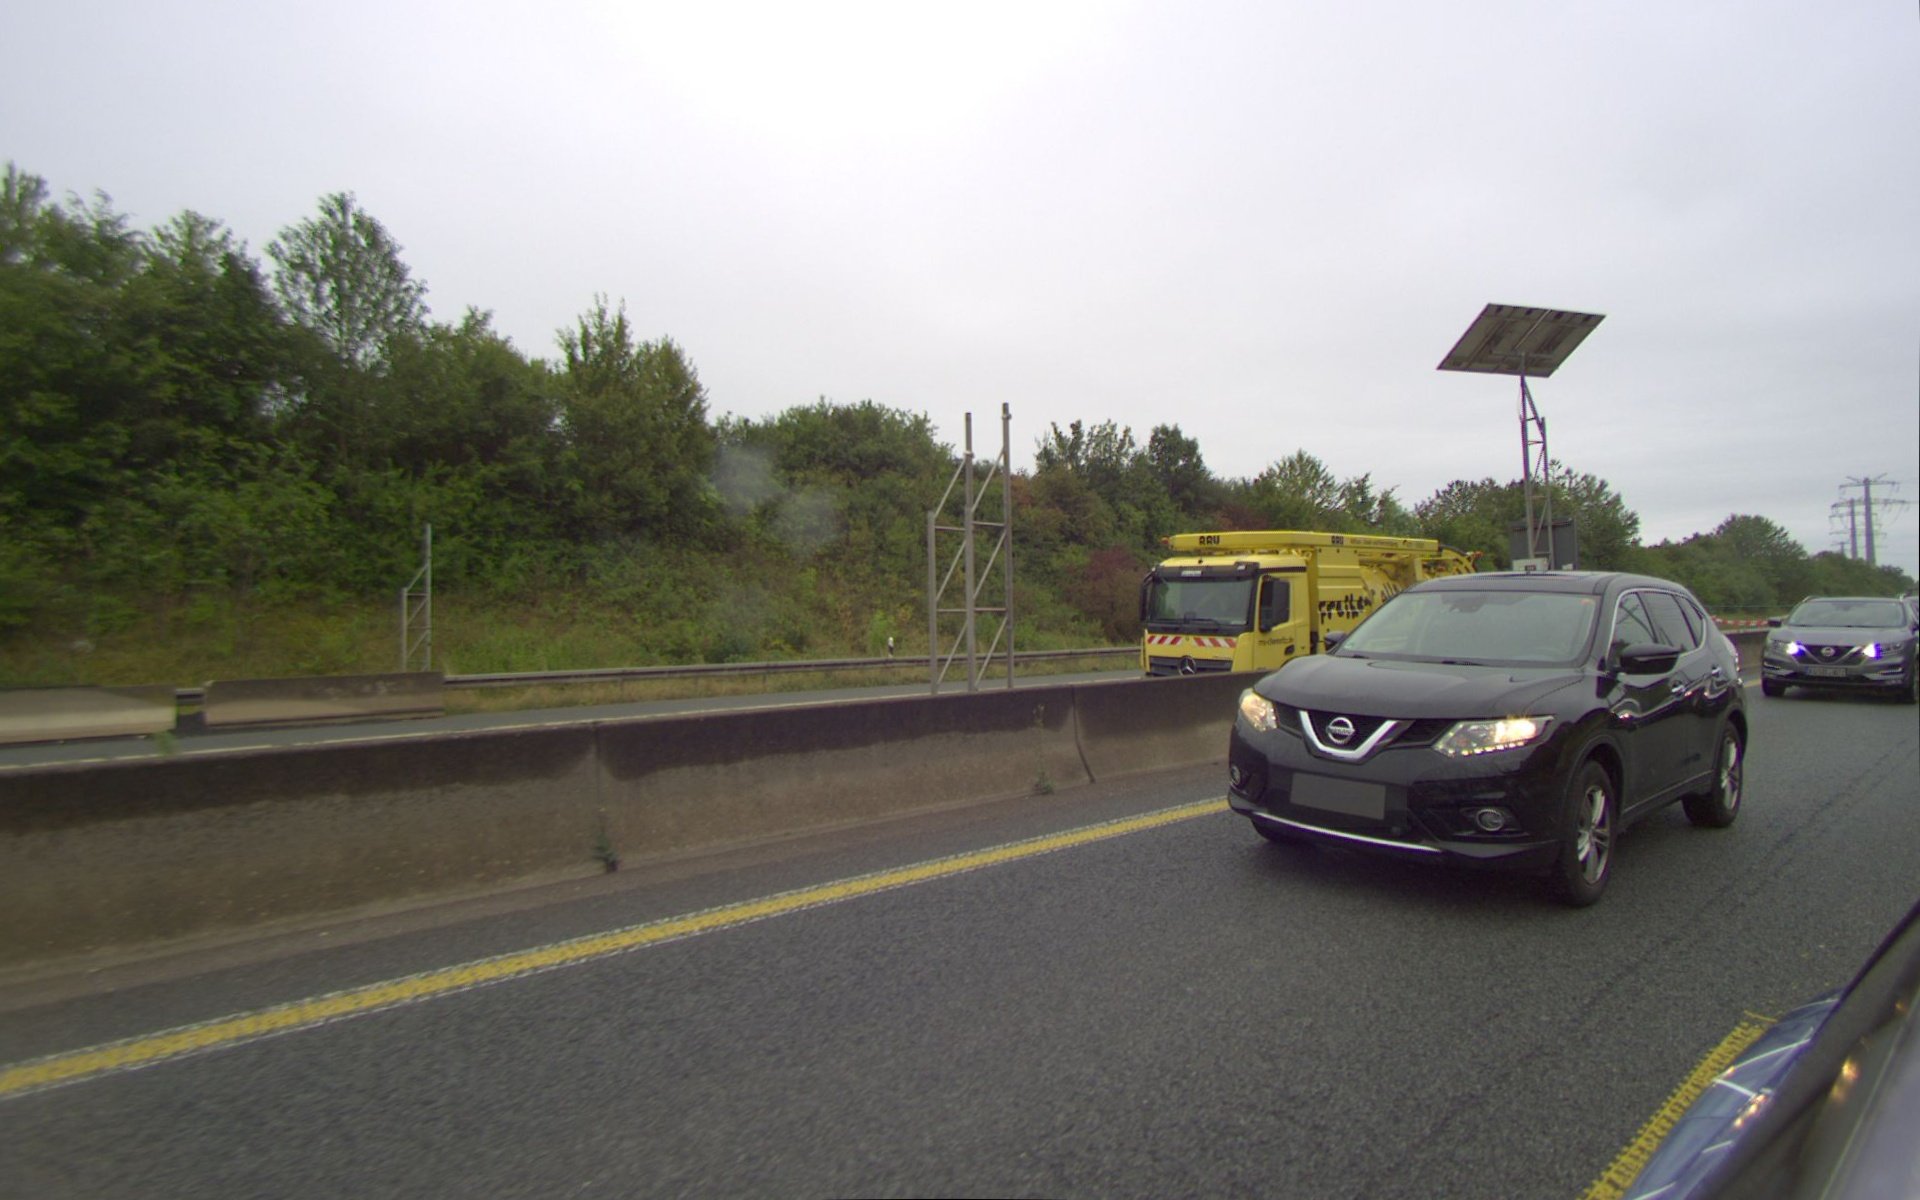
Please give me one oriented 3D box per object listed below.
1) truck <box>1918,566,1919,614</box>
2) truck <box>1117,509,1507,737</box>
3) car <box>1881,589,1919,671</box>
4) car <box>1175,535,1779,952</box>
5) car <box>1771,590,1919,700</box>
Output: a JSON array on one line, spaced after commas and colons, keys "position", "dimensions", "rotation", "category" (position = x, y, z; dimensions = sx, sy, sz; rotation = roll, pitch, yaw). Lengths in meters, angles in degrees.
[{"position": [67.645, -0.673, 68.444], "dimensions": [2.603, 3.467, 9.459], "rotation": [0, 0, 34], "category": "truck"}, {"position": [7.147, 0.290, 19.436], "dimensions": [9.406, 3.467, 2.618], "rotation": [-1, 0, -40], "category": "truck"}, {"position": [20.819, 0.579, 21.272], "dimensions": [4.053, 1.618, 1.782], "rotation": [-1, 0, -42], "category": "car"}, {"position": [3.492, 0.556, 6.359], "dimensions": [4.562, 1.696, 1.892], "rotation": [-1, 0, -42], "category": "car"}, {"position": [14.288, 0.610, 15.922], "dimensions": [4.053, 1.509, 1.782], "rotation": [-1, 0, -42], "category": "car"}]
